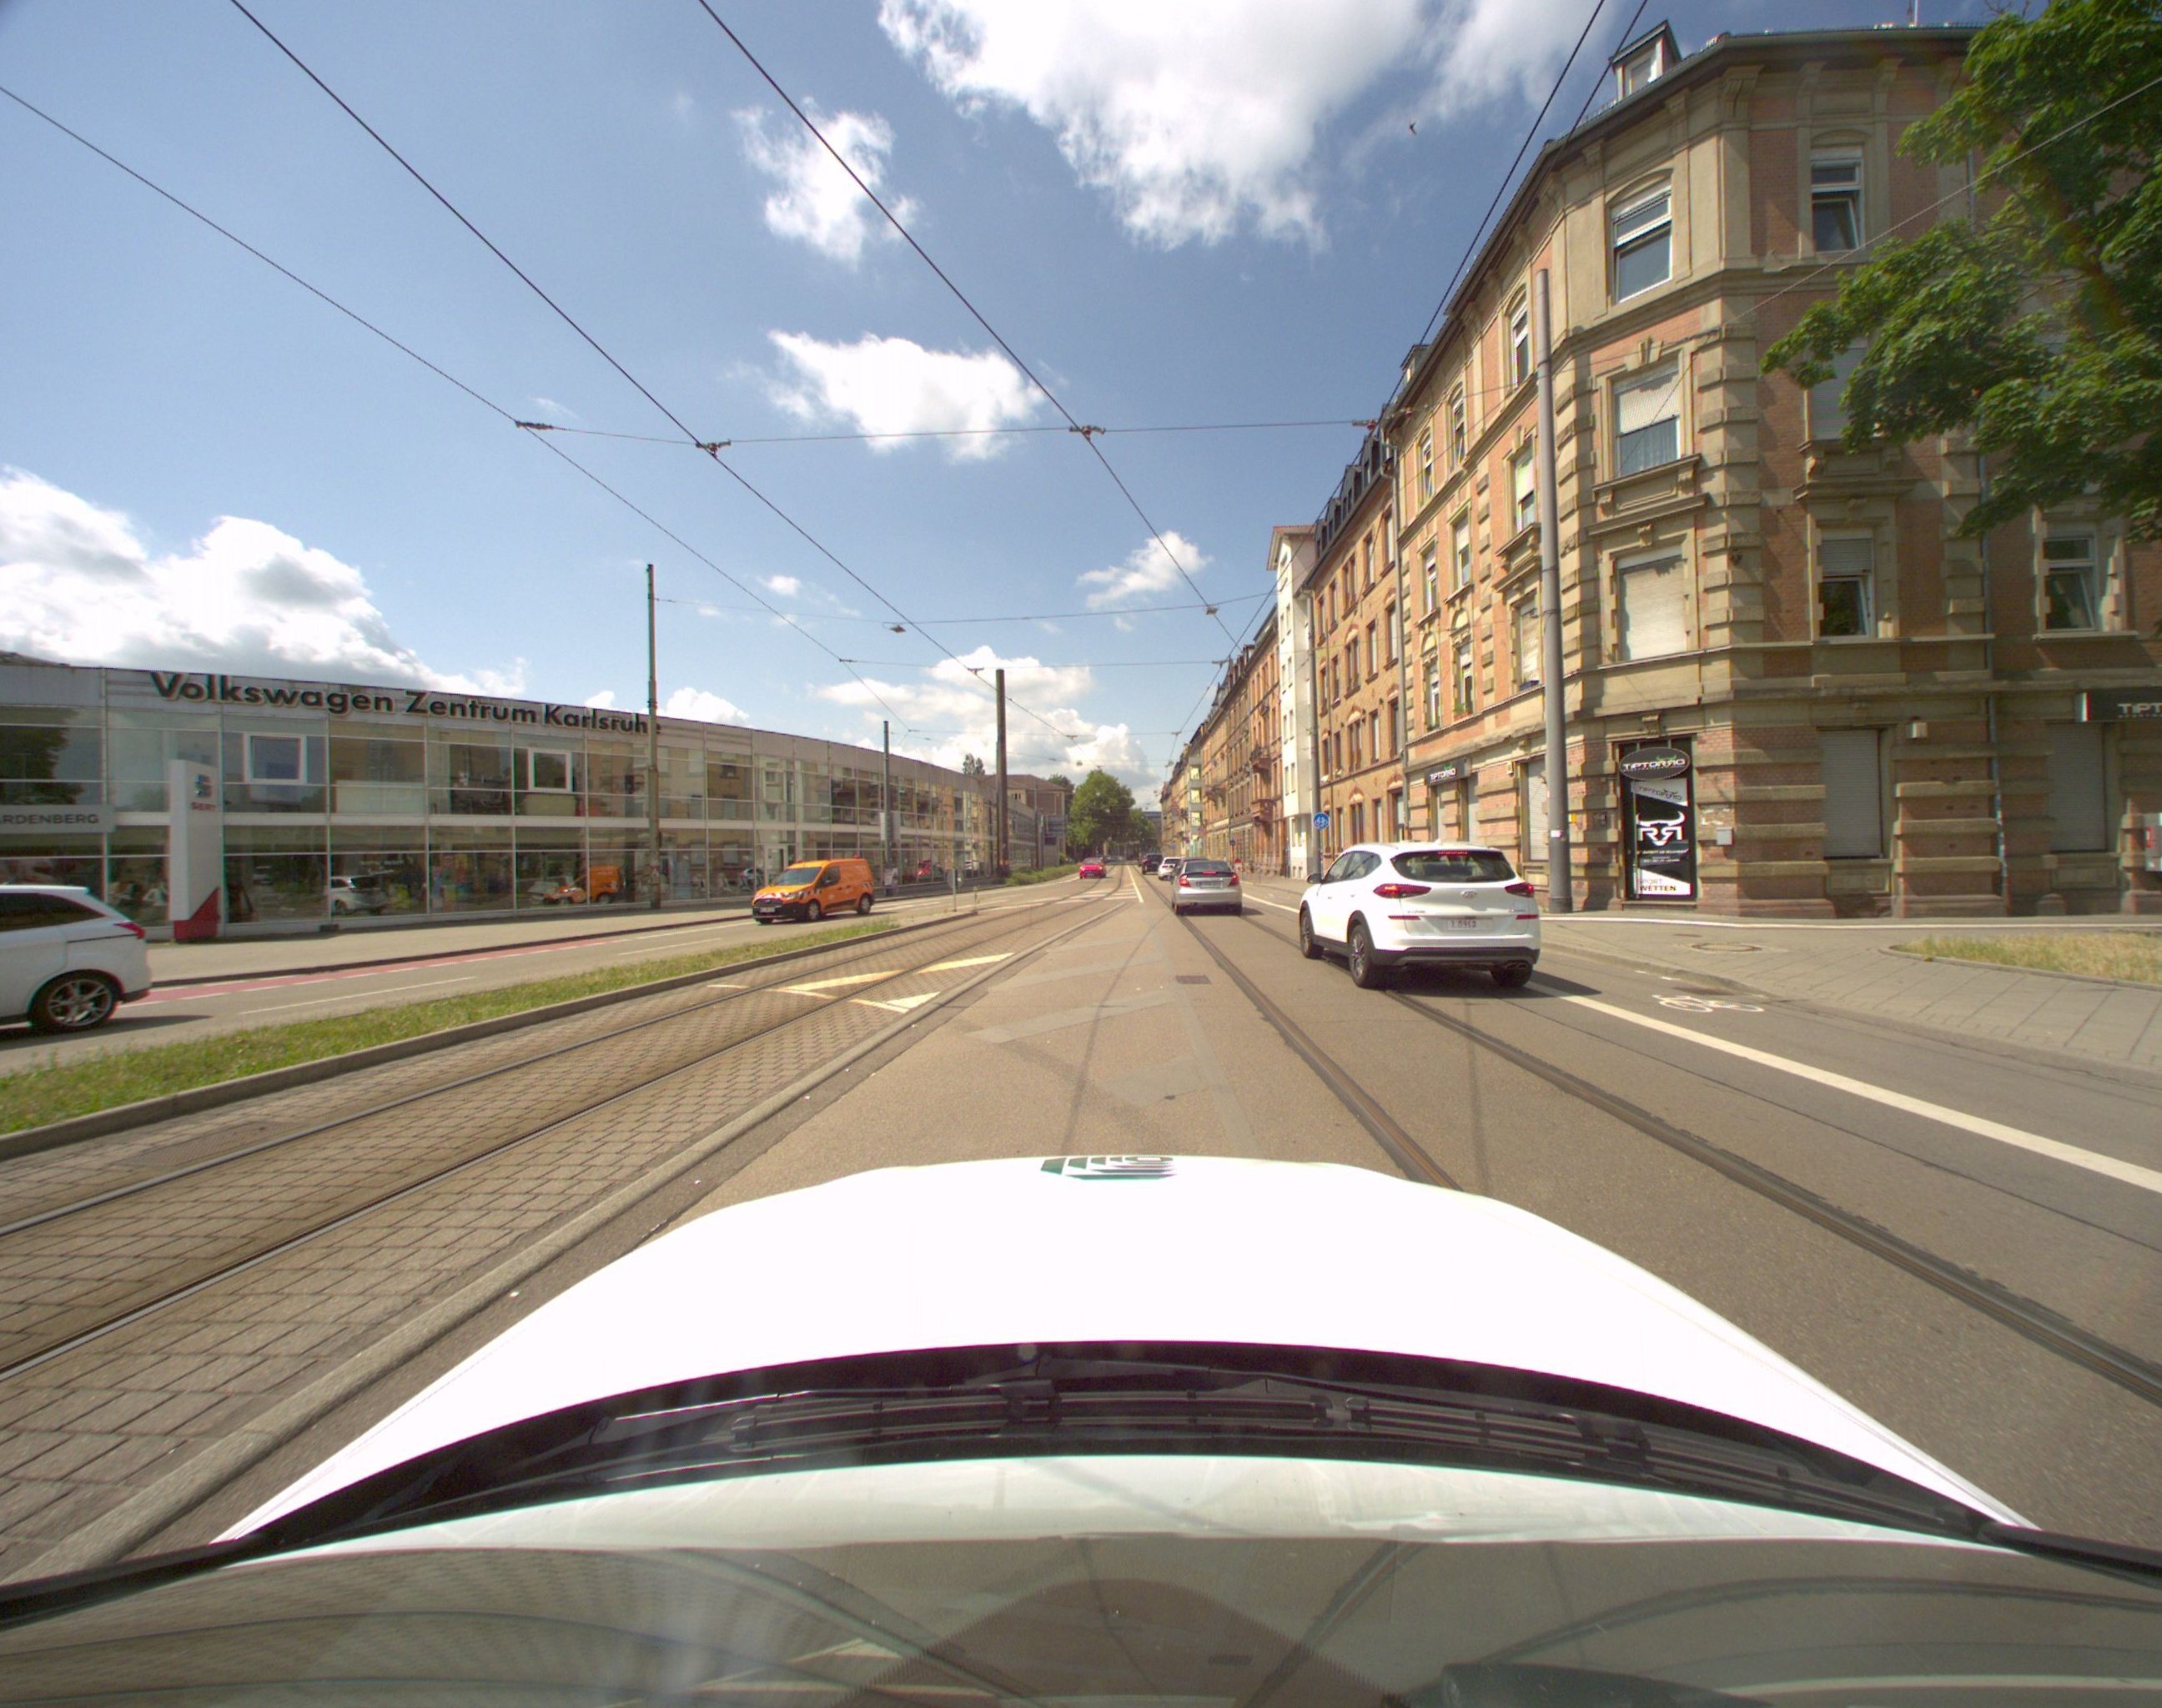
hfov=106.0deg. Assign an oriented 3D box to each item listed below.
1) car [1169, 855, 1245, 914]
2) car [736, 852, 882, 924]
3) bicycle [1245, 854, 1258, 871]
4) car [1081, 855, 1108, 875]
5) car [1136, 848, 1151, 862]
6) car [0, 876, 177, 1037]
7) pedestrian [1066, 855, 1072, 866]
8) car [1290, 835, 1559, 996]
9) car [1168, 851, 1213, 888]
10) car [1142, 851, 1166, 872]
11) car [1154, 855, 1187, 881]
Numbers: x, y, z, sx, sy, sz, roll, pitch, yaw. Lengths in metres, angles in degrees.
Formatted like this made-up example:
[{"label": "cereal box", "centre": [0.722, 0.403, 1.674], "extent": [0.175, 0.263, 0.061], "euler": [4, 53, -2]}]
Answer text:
[{"label": "car", "centre": [3.330, 0.763, 22.174], "extent": [1.805, 1.420, 4.195], "euler": [-1, 0, 6]}, {"label": "car", "centre": [-8.063, 0.950, 24.629], "extent": [1.896, 1.865, 4.388], "euler": [-3, 0, 18]}, {"label": "bicycle", "centre": [12.533, 0.607, 59.826], "extent": [0.584, 1.178, 2.207], "euler": [-2, 0, 4]}, {"label": "car", "centre": [1.000, 0.789, 59.361], "extent": [1.694, 1.428, 3.906], "euler": [-1, 0, 4]}, {"label": "car", "centre": [8.985, 0.106, 117.153], "extent": [1.986, 1.860, 4.002], "euler": [-1, 0, 2]}, {"label": "car", "centre": [-12.064, 1.092, 7.669], "extent": [1.756, 1.604, 4.503], "euler": [-1, 0, 8]}, {"label": "pedestrian", "centre": [-2.181, 1.211, 150.246], "extent": [0.876, 1.865, 1.082], "euler": [-2, 0, 3]}, {"label": "car", "centre": [4.040, 0.628, 10.419], "extent": [1.845, 1.634, 4.183], "euler": [0, 0, 3]}, {"label": "car", "centre": [4.934, 0.671, 37.177], "extent": [1.806, 1.524, 4.091], "euler": [-1, 0, 5]}, {"label": "car", "centre": [6.172, 0.653, 68.864], "extent": [1.807, 1.662, 4.088], "euler": [-2, 0, 3]}, {"label": "car", "centre": [5.631, 0.871, 51.563], "extent": [1.807, 1.524, 3.959], "euler": [-1, 0, 3]}]
